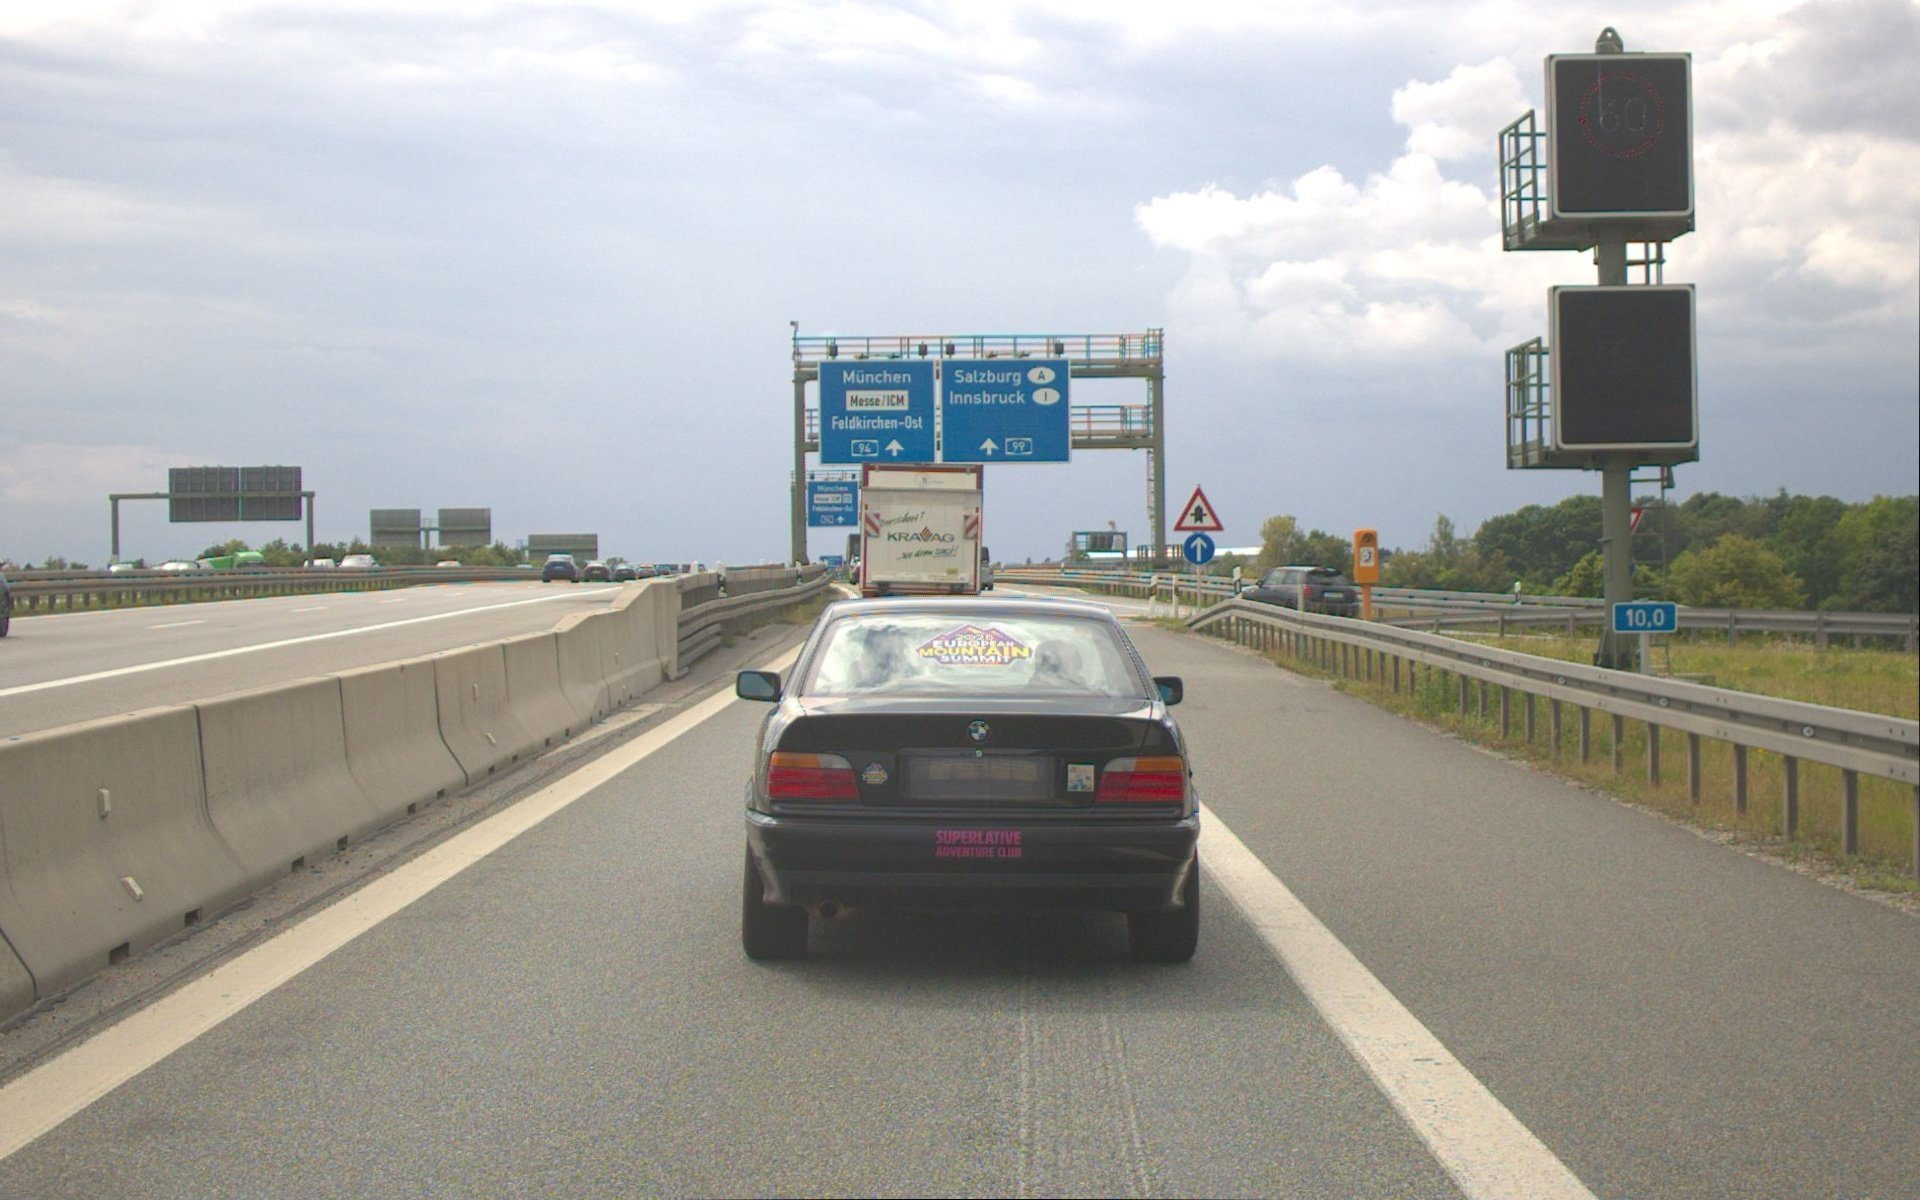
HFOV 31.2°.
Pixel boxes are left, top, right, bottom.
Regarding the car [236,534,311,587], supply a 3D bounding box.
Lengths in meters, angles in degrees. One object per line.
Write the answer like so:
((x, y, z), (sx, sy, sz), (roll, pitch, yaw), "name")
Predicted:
((-22.595, -1.306, 113.215), (1.667, 1.700, 4.000), (1, 1, 0), "car")

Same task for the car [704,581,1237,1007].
((0.052, 0.644, 13.670), (1.782, 1.373, 4.137), (1, 1, 1), "car")

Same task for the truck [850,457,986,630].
((-0.829, -1.060, 64.717), (2.404, 3.079, 6.371), (1, 1, -1), "truck")

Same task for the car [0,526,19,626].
((-16.166, -0.383, 53.767), (1.892, 1.592, 4.418), (1, 1, -3), "car")

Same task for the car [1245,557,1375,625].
((8.467, -0.233, 83.490), (1.993, 1.547, 4.001), (1, 1, -12), "car")

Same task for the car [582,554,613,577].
((-25.597, -2.435, 242.631), (1.993, 1.536, 4.001), (0, 1, -4), "car")

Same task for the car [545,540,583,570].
((-22.976, -2.620, 199.635), (1.993, 1.656, 4.385), (0, 1, -4), "car")
